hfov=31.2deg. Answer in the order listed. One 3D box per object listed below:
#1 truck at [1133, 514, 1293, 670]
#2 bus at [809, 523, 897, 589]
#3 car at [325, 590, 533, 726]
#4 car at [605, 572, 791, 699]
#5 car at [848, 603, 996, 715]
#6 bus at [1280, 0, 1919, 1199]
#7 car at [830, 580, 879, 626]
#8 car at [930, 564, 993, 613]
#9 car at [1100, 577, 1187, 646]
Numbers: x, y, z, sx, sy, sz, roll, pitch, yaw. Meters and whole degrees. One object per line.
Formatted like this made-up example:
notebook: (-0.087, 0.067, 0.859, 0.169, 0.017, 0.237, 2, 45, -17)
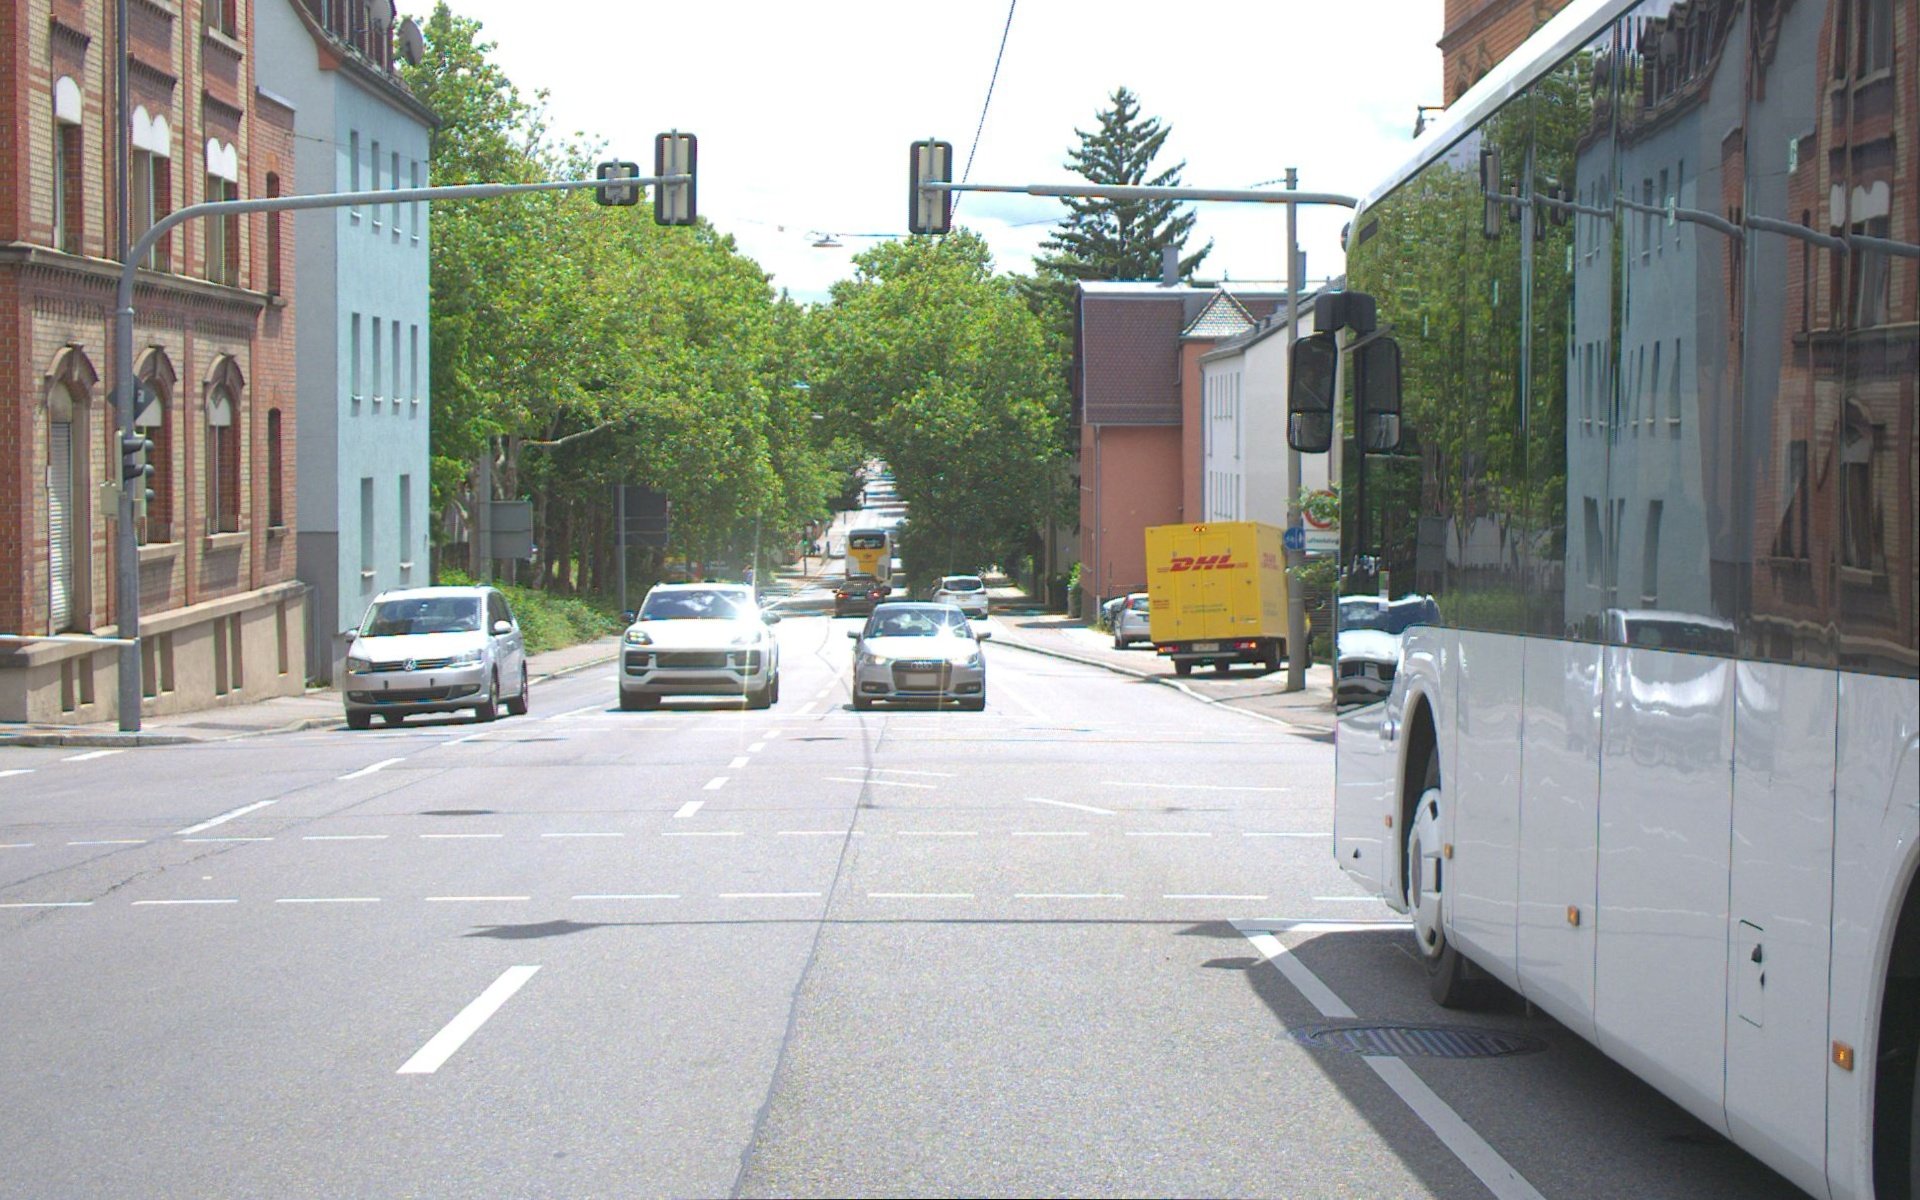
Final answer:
truck: (5.051, -0.151, 67.771, 2.542, 2.903, 6.570, 1, 0, 9)
bus: (-6.138, -2.452, 194.624, 3.299, 3.618, 11.247, -1, 0, -10)
car: (-6.519, 0.675, 42.661, 1.935, 1.558, 4.389, -1, 0, -1)
car: (-3.483, 0.436, 46.538, 2.207, 1.607, 4.547, -1, 0, -1)
car: (-0.508, 0.746, 45.990, 1.865, 1.363, 4.547, -1, 0, -1)
bus: (2.947, -0.261, 8.800, 2.904, 3.498, 12.488, 1, 0, -1)
car: (-4.166, 0.112, 135.948, 1.819, 1.778, 4.000, -1, 0, -1)
car: (0.040, -0.439, 128.916, 2.091, 1.824, 4.143, 0, 0, -4)
car: (4.907, 0.297, 92.488, 1.910, 1.810, 4.000, 0, 0, -3)
